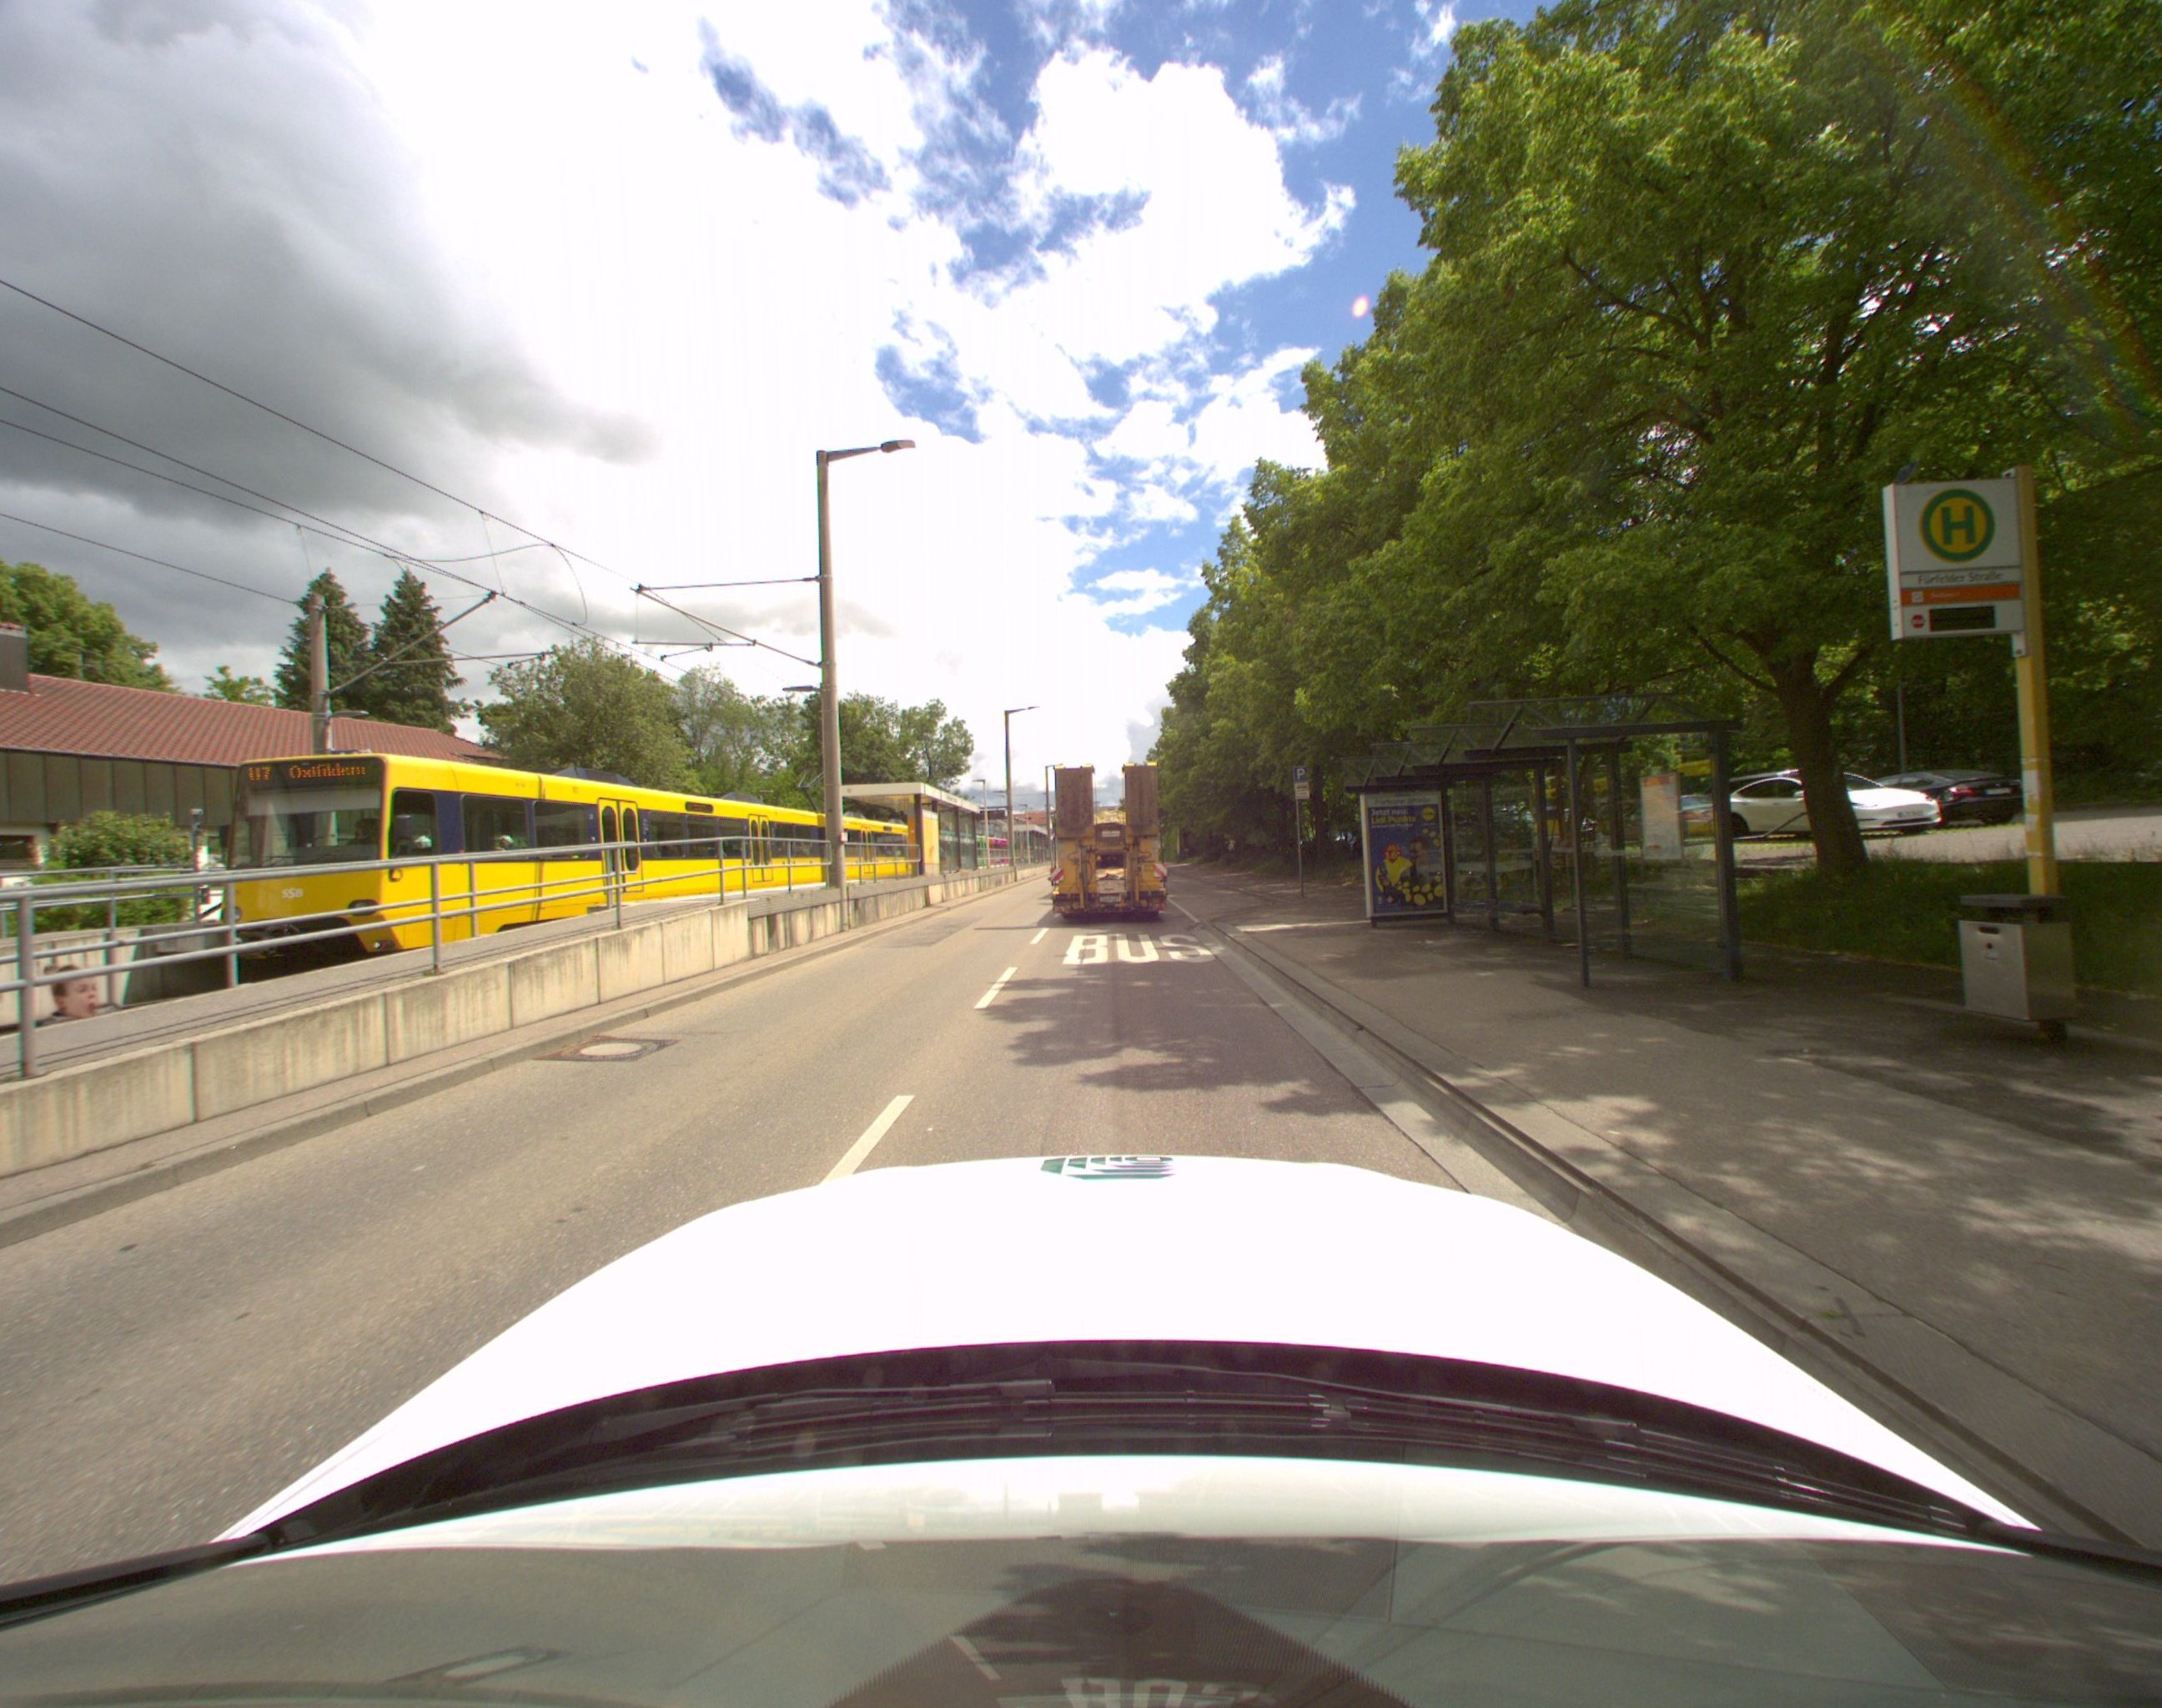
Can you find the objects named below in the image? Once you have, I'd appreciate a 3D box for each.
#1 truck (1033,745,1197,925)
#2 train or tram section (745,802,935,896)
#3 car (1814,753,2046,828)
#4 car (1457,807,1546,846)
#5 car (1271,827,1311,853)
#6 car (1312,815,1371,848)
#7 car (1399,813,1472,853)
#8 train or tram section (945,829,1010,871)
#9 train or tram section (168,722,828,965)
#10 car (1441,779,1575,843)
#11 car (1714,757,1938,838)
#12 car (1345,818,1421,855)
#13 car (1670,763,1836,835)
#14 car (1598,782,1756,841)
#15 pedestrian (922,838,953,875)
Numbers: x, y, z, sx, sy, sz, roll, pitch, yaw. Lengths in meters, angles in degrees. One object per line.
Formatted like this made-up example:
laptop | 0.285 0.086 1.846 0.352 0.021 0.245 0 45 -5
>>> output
truck | 0.682 -0.410 24.428 3.392 3.732 13.734 -2 0 -1
train or tram section | -10.783 -0.191 40.144 3.096 3.465 19.004 -1 0 2
car | 20.740 -1.476 20.175 1.674 1.453 4.005 -4 0 4
car | 18.562 -1.176 36.169 1.834 1.420 4.126 -5 0 2
car | 14.273 -0.914 55.478 1.708 1.507 4.163 -5 -1 3
car | 13.291 -1.118 41.782 1.791 1.464 3.990 -4 0 1
car | 15.571 -0.901 35.965 1.685 1.508 3.624 -6 0 3
train or tram section | -9.594 -0.331 78.428 3.096 3.465 19.097 -1 0 2
train or tram section | -11.393 -0.152 21.215 3.096 3.465 18.833 -1 0 2
car | 13.200 -1.261 25.548 1.839 1.662 4.726 -2 0 2
car | 17.763 -1.263 19.750 1.463 1.555 4.437 -6 0 4
car | 13.284 -0.744 36.043 1.607 1.413 3.811 -4 0 -5
car | 20.562 -1.618 25.181 1.607 1.790 4.210 -6 0 2
car | 17.888 -1.208 24.732 1.607 1.442 4.355 -5 0 2
pedestrian | -4.886 0.073 27.826 0.793 1.186 0.919 -4 0 0
